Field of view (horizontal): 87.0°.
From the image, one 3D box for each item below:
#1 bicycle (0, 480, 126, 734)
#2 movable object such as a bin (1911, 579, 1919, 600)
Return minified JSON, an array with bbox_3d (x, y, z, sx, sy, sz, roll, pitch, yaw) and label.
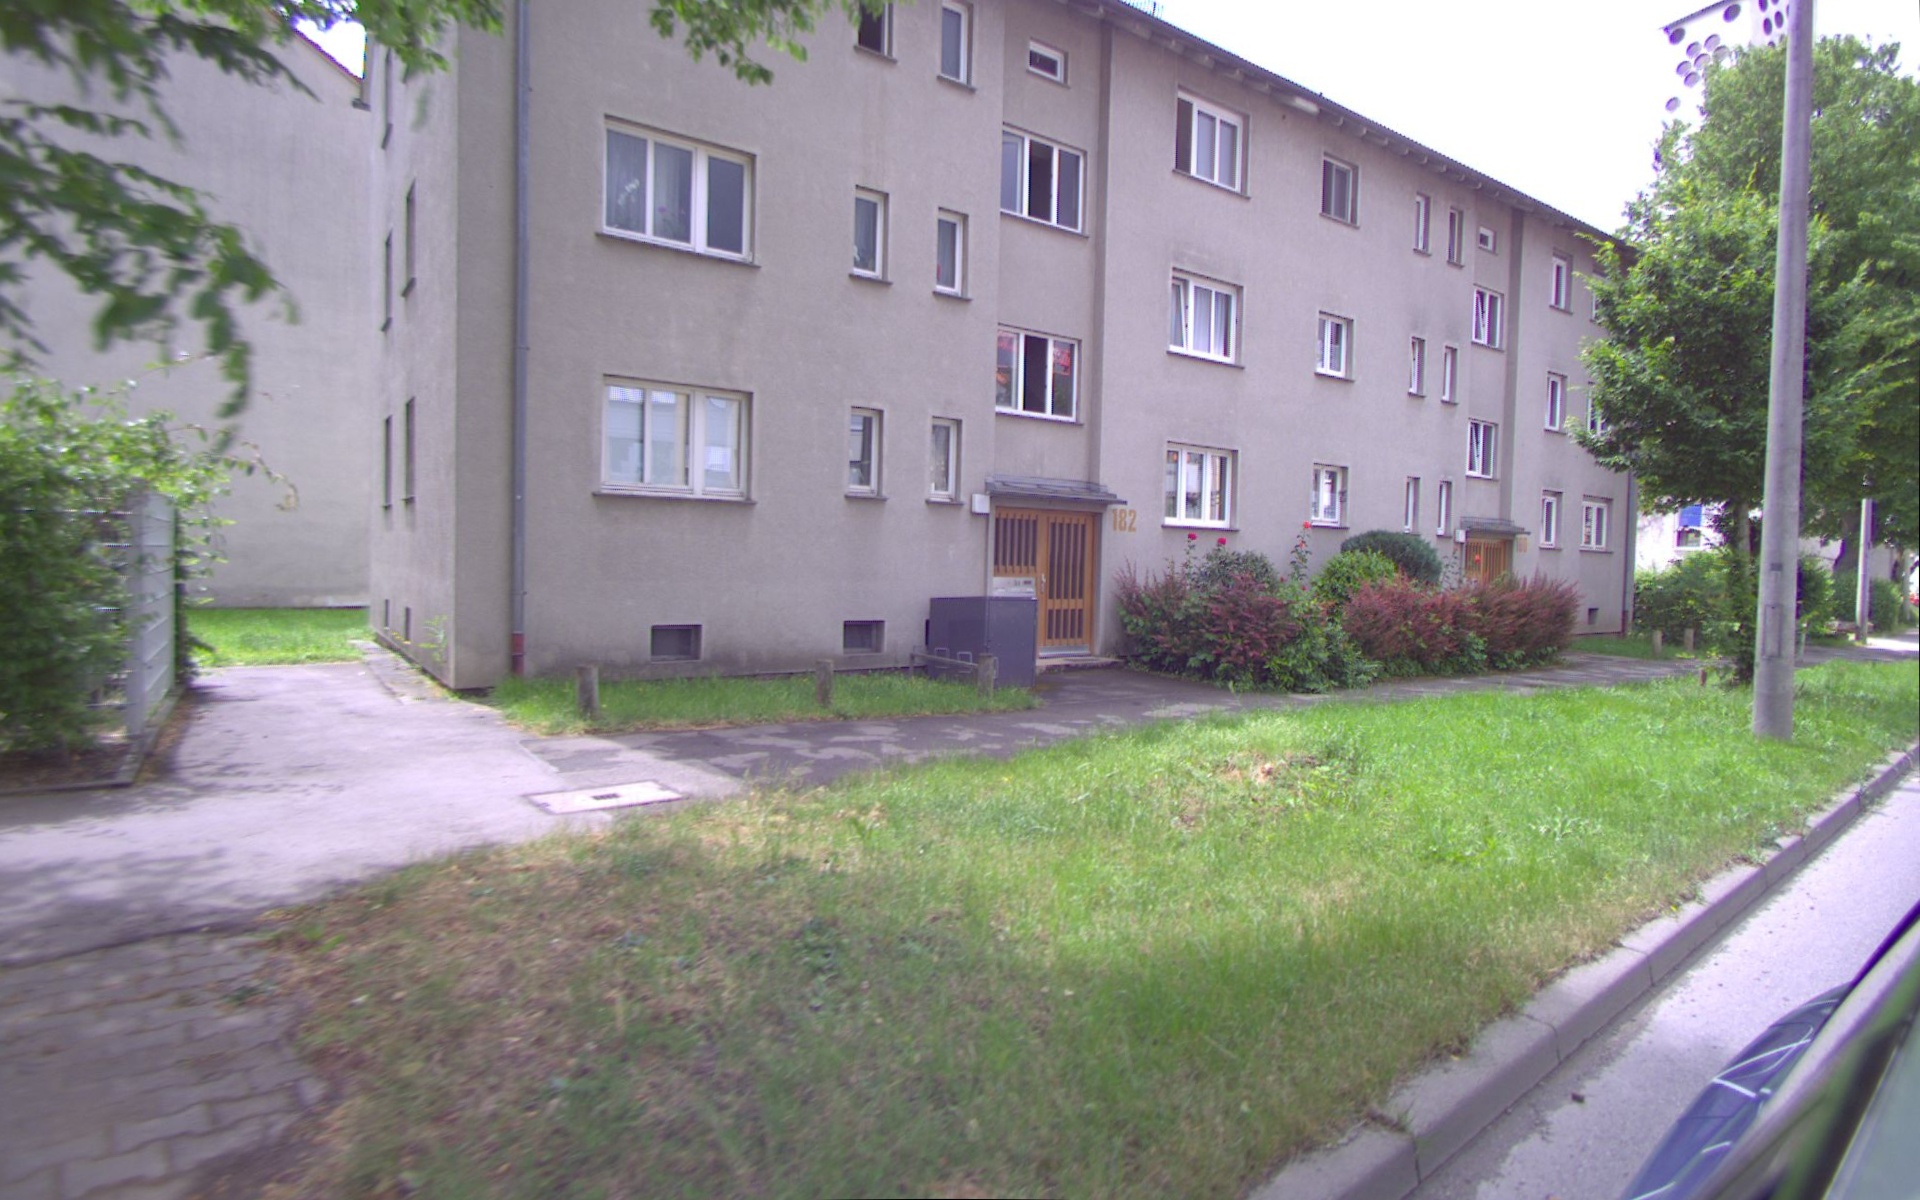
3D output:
[{"bbox_3d":[-6.411,0.016,6.915,1.052,1.593,1.351,0,2,-38],"label":"bicycle"},{"bbox_3d":[96.081,-0.997,99.577,1.959,2.038,2.973,2,2,-6],"label":"movable object such as a bin"}]
